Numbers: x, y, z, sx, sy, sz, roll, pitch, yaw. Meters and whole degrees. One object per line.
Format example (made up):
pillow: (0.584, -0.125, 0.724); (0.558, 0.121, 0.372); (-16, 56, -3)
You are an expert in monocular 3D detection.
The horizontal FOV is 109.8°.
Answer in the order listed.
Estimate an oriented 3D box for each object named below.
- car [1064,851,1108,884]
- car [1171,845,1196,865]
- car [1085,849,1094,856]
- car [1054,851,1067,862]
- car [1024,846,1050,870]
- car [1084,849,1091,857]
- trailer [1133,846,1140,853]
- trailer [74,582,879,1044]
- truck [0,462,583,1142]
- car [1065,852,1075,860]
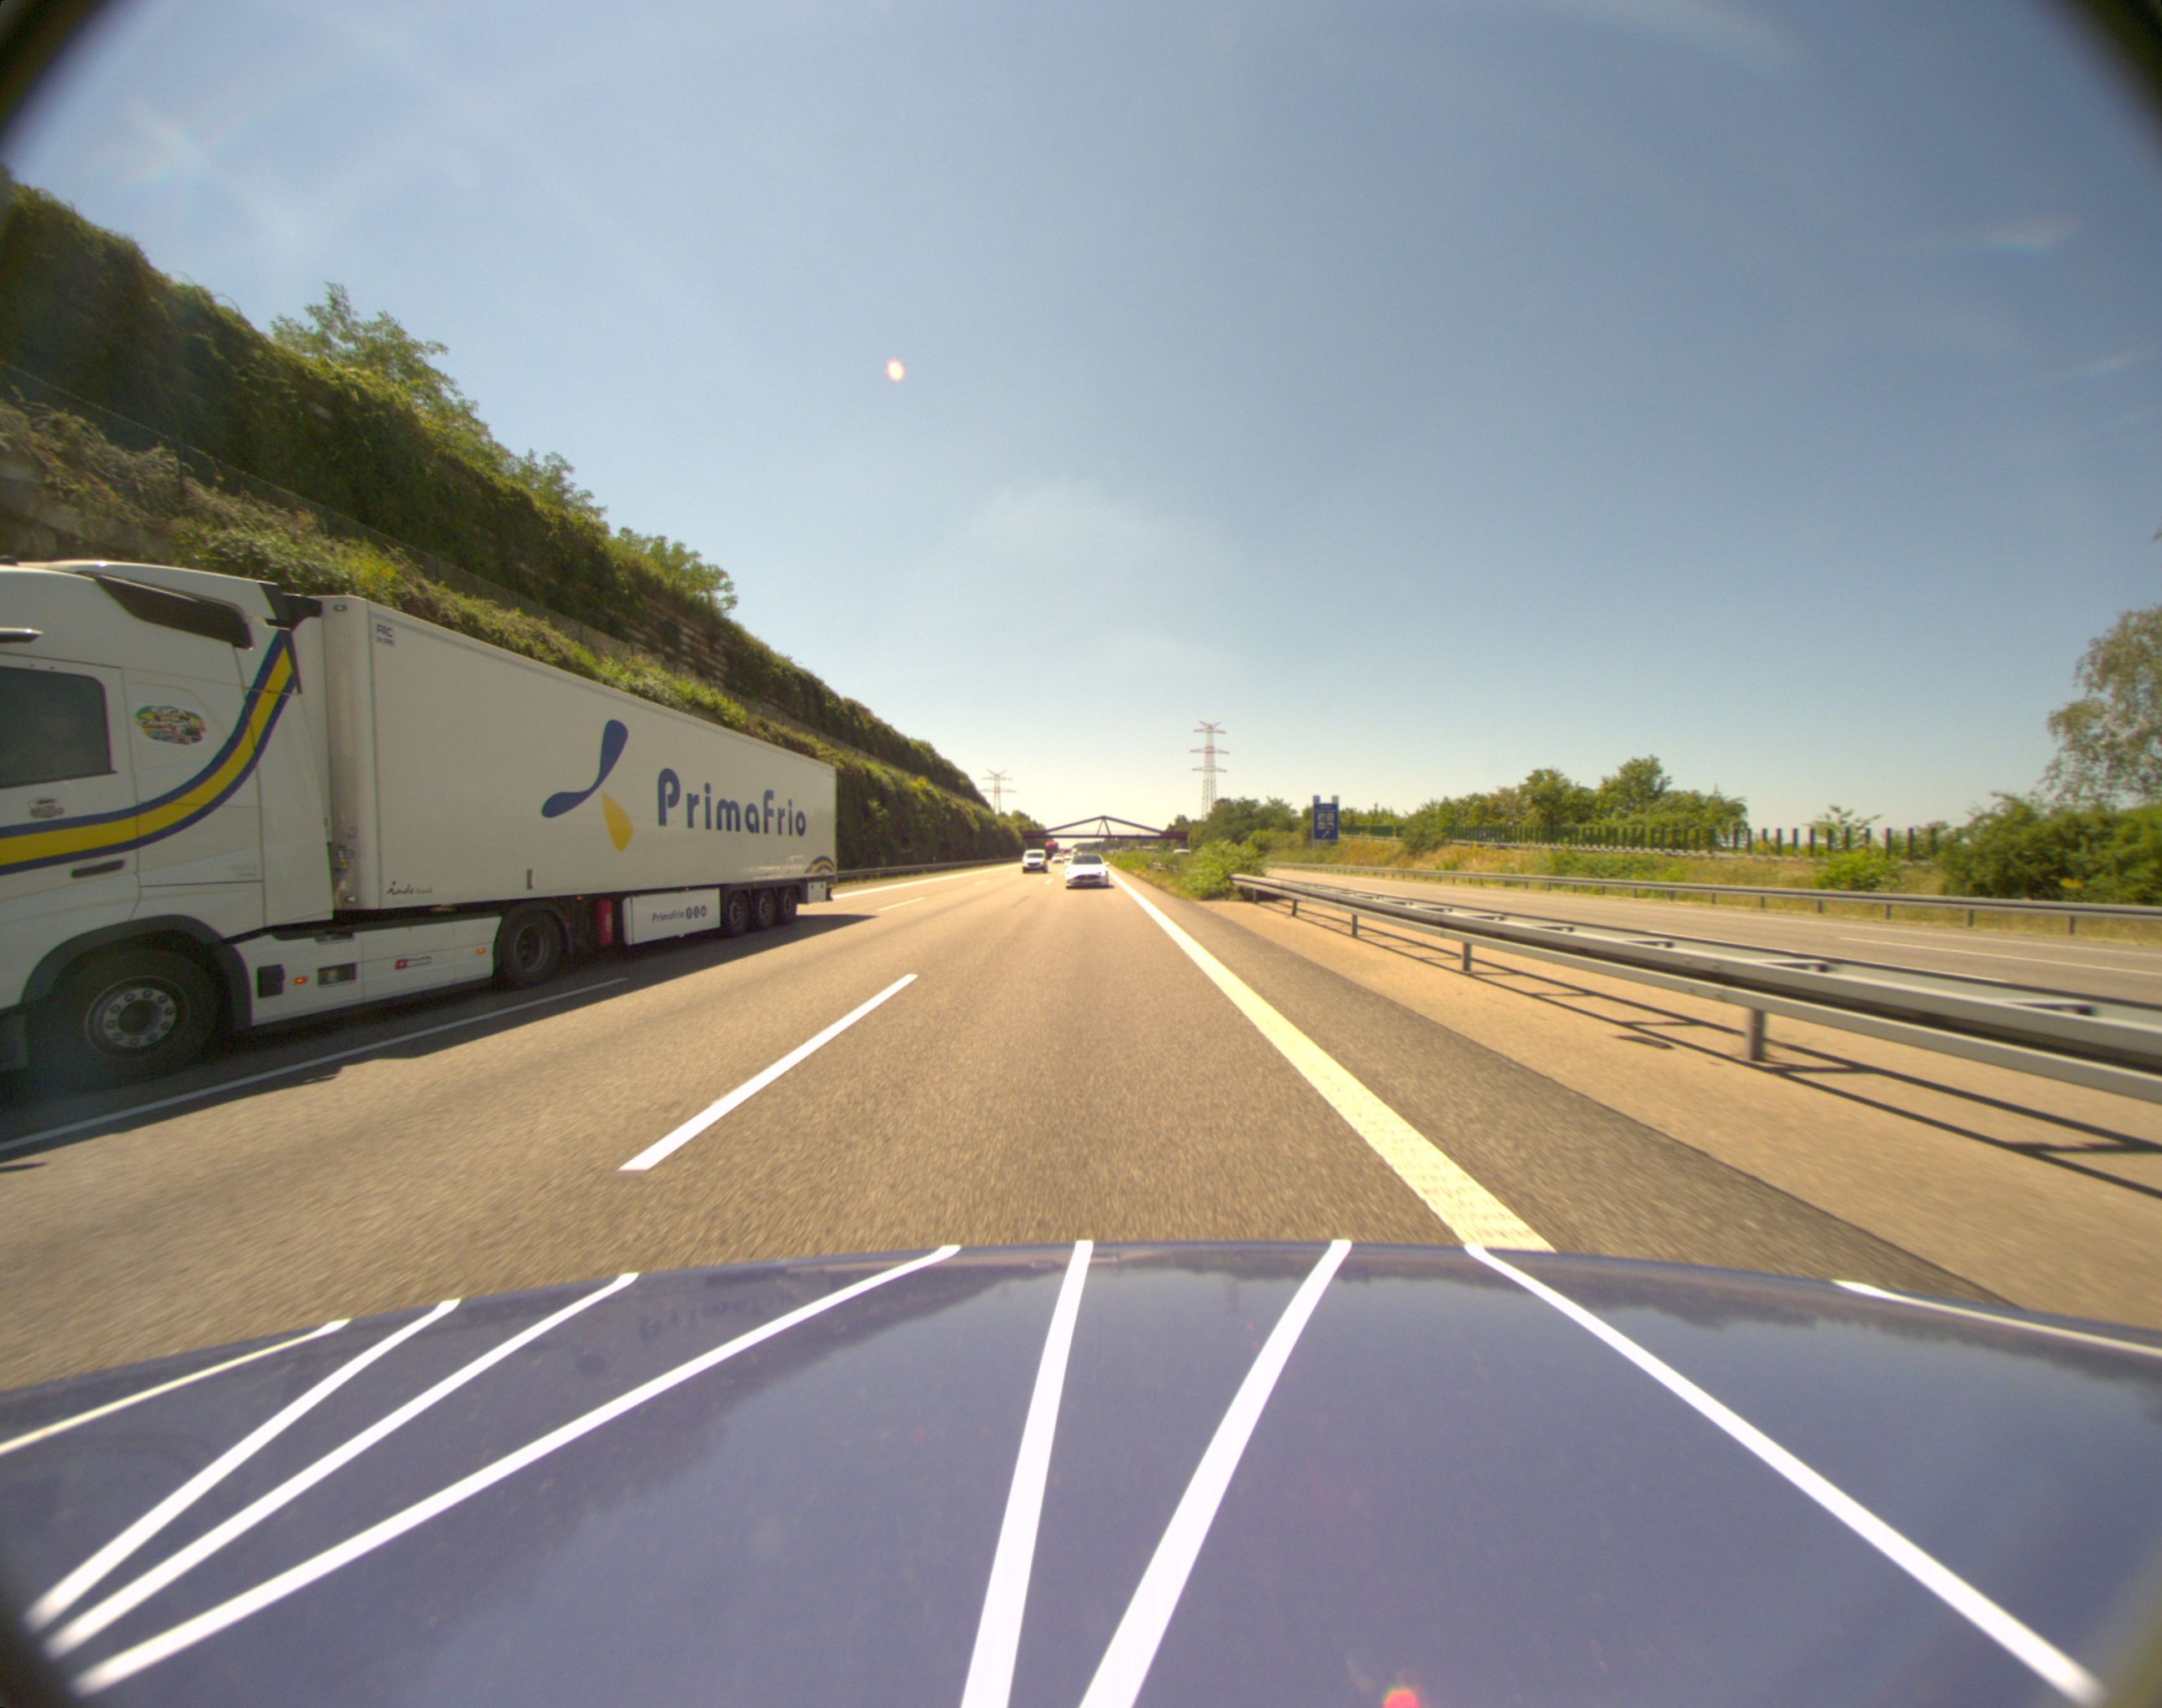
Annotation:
car: (0.206, 0.628, 37.206); (1.999, 1.474, 4.107); (-1, 1, 0)
car: (9.967, 0.084, 74.318); (1.767, 1.914, 4.770); (0, 1, 0)
car: (1.751, -0.352, 159.534); (1.784, 1.475, 3.999); (0, 1, 0)
car: (-2.951, 0.353, 110.746); (1.784, 1.475, 3.999); (-1, 1, 0)
car: (-3.466, 0.315, 60.071); (1.784, 1.783, 3.999); (-1, 1, 0)
car: (1.969, -0.297, 227.272); (1.998, 2.002, 4.000); (-2, 1, 1)
trailer: (19.541, -1.664, 268.010); (1.999, 2.504, 4.183); (0, 1, 0)
trailer: (-7.766, -0.418, 15.439); (2.521, 4.187, 17.026); (-1, 0, 1)
truck: (-7.884, -0.344, 6.848); (2.514, 4.196, 6.255); (0, 1, 1)
car: (-2.216, 0.428, 153.698); (1.784, 1.475, 3.999); (-1, 1, 0)
